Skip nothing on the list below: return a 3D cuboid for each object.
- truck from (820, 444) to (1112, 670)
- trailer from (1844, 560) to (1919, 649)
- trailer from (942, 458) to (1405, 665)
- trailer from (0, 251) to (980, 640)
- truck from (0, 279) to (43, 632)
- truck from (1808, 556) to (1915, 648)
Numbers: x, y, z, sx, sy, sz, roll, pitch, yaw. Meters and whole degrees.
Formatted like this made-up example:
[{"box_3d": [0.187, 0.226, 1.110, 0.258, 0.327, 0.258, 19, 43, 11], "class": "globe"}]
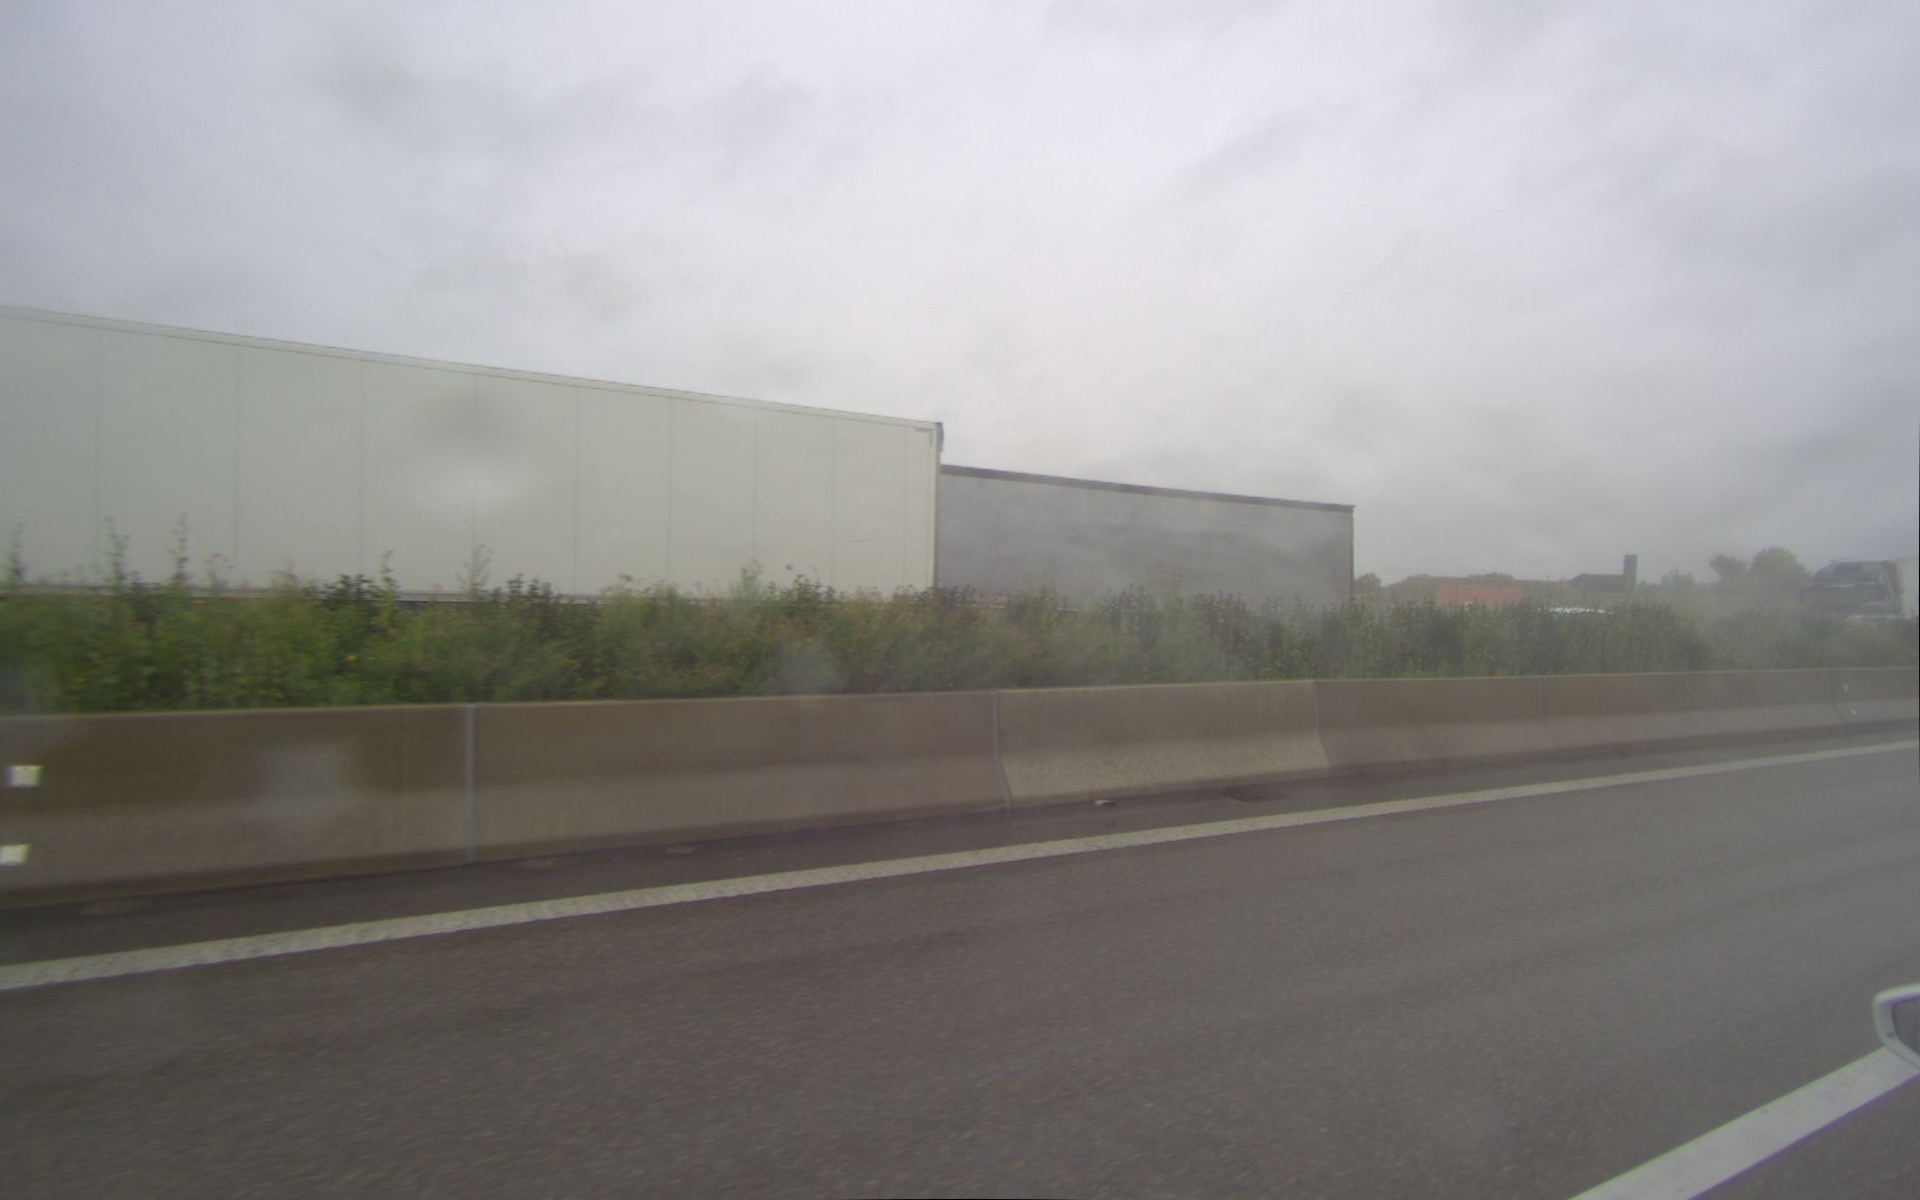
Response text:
[{"box_3d": [0.168, -0.808, 22.056, 5.772, 4.353, 2.745, 1, 1, -31], "class": "truck"}, {"box_3d": [46.181, 0.328, 47.723, 13.694, 3.815, 1.984, 1, 0, -30], "class": "trailer"}, {"box_3d": [5.931, -0.696, 25.539, 13.086, 4.308, 2.803, 1, 0, -31], "class": "trailer"}, {"box_3d": [-5.721, -1.466, 14.005, 12.256, 3.903, 2.805, 1, 0, -30], "class": "trailer"}, {"box_3d": [-12.743, -1.639, 10.000, 4.762, 3.899, 2.746, 1, 0, -30], "class": "truck"}, {"box_3d": [39.277, 0.131, 43.730, 4.755, 3.831, 1.984, 1, 0, -29], "class": "truck"}]
